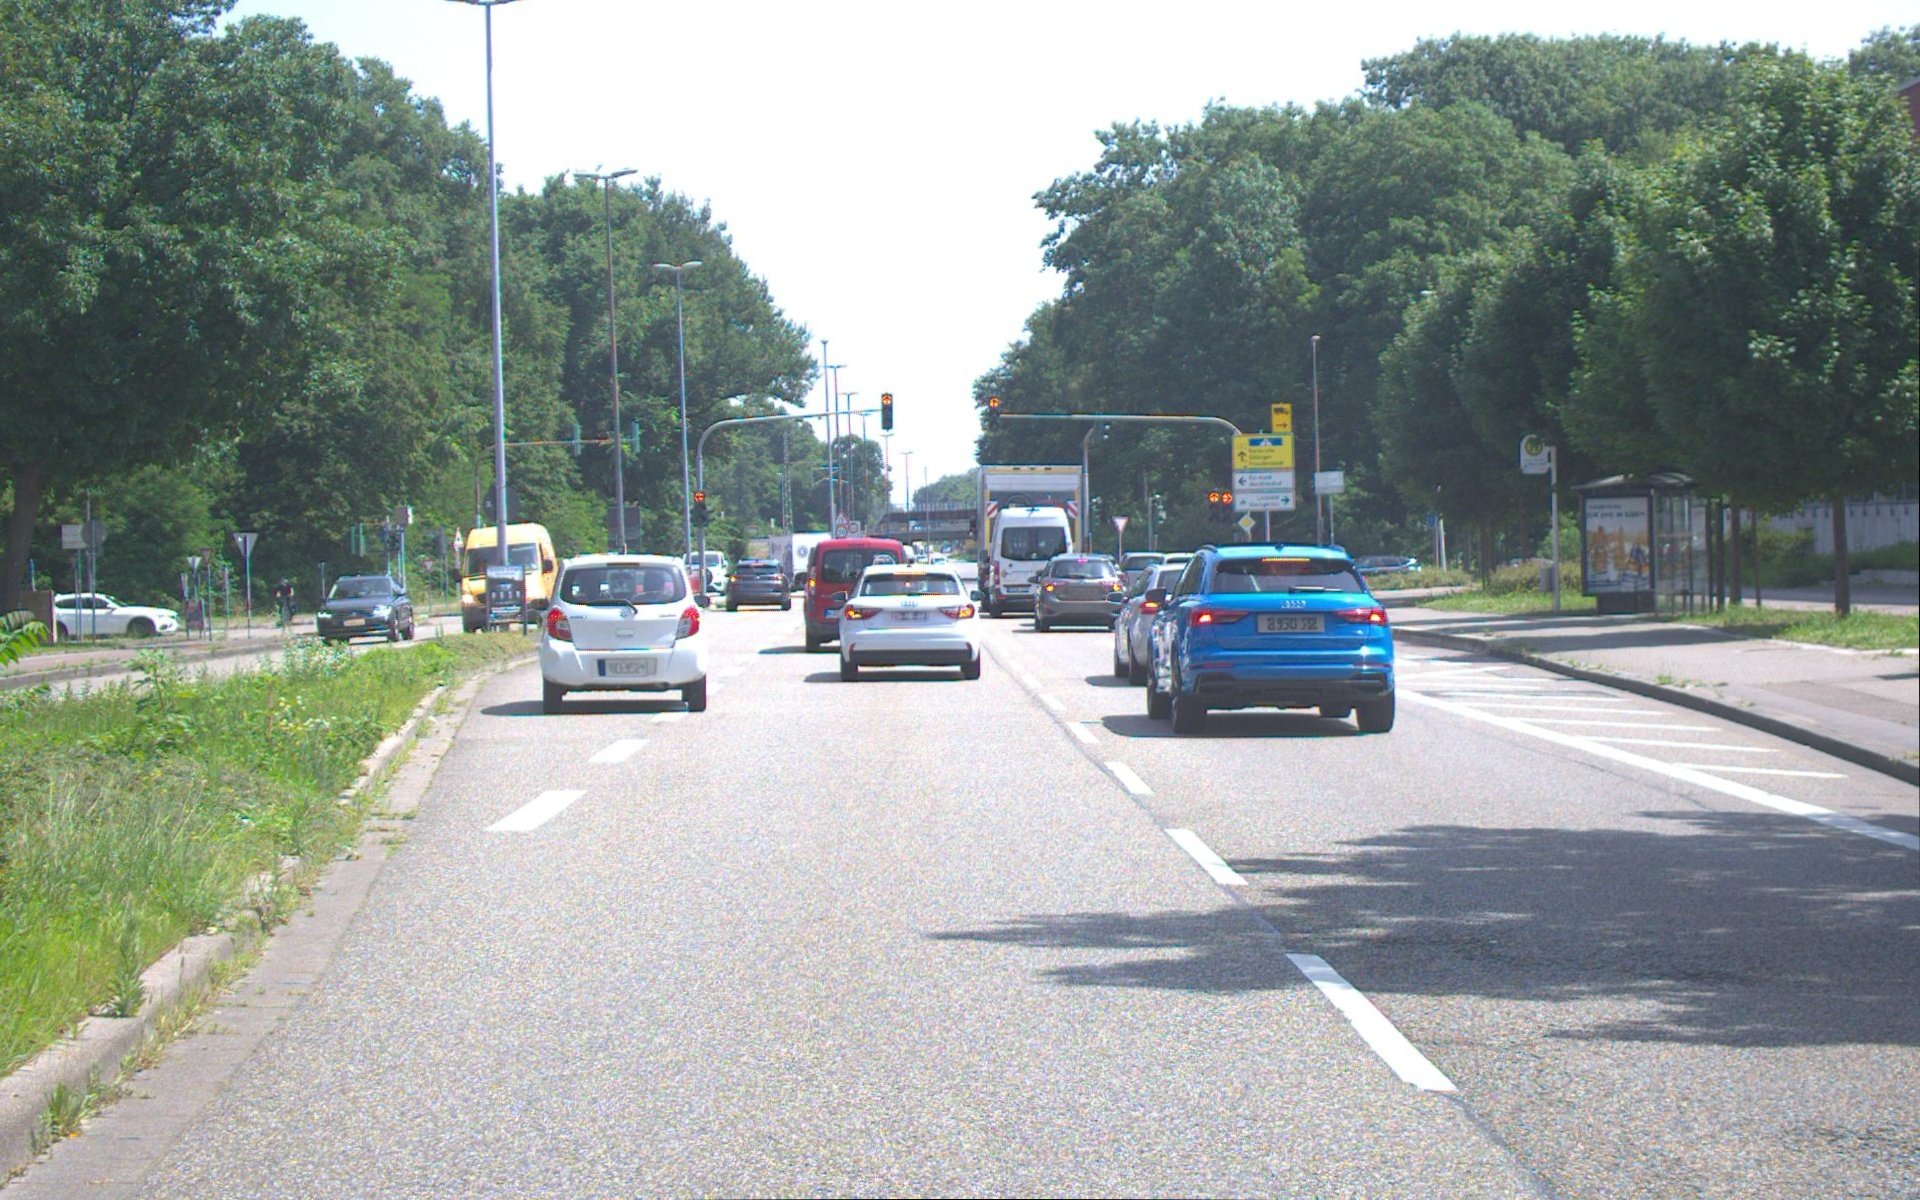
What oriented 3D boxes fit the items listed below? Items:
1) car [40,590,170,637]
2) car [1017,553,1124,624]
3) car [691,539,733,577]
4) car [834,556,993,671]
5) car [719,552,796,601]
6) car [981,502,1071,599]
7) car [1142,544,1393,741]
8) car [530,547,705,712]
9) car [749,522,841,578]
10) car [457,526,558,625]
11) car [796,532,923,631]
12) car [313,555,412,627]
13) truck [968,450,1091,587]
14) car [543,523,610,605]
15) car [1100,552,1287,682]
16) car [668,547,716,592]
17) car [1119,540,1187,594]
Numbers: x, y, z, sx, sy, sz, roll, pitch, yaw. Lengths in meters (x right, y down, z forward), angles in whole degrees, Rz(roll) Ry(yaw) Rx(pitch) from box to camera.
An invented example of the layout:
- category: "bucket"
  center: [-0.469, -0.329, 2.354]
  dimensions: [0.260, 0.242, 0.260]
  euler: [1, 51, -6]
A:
- category: "car"
  center: [-28.357, 0.430, 114.094]
  dimensions: [3.986, 1.393, 1.590]
  euler: [-2, 1, -7]
- category: "car"
  center: [2.163, -0.244, 68.345]
  dimensions: [1.865, 1.305, 4.000]
  euler: [-2, 1, -1]
- category: "car"
  center: [-10.924, -1.861, 151.459]
  dimensions: [1.595, 1.577, 3.772]
  euler: [-2, 1, -1]
- category: "car"
  center: [-0.578, 0.150, 43.102]
  dimensions: [1.884, 1.349, 4.000]
  euler: [-1, 0, -1]
- category: "car"
  center: [-5.784, -0.693, 98.716]
  dimensions: [1.993, 1.284, 4.000]
  euler: [-2, 1, -1]
- category: "car"
  center: [1.573, -1.220, 83.622]
  dimensions: [1.993, 2.248, 4.000]
  euler: [-2, 1, -1]
- category: "car"
  center: [2.621, 0.330, 30.167]
  dimensions: [1.808, 1.587, 4.349]
  euler: [-1, 0, 0]
- category: "car"
  center: [-3.409, 0.269, 34.487]
  dimensions: [1.638, 1.547, 3.325]
  euler: [-1, 0, -5]
- category: "car"
  center: [-6.233, -1.881, 129.327]
  dimensions: [1.993, 2.007, 4.001]
  euler: [-2, 1, -25]
- category: "car"
  center: [-10.735, -0.586, 81.838]
  dimensions: [1.779, 2.274, 4.752]
  euler: [-1, 0, 0]
- category: "car"
  center: [-1.646, -0.302, 55.081]
  dimensions: [1.794, 1.518, 4.001]
  euler: [-1, 0, -5]
- category: "car"
  center: [-14.236, -0.219, 82.072]
  dimensions: [1.710, 1.656, 4.000]
  euler: [-1, 0, -1]
- category: "truck"
  center: [1.817, -2.208, 94.125]
  dimensions: [2.932, 3.490, 9.158]
  euler: [-2, 1, -1]
- category: "car"
  center: [-10.892, -1.016, 97.801]
  dimensions: [1.779, 2.274, 4.001]
  euler: [-1, 0, -5]
- category: "car"
  center: [2.745, 0.177, 41.199]
  dimensions: [1.865, 1.468, 4.000]
  euler: [-1, 0, -1]
- category: "car"
  center: [-8.168, -0.951, 104.834]
  dimensions: [1.368, 1.304, 2.694]
  euler: [-2, 1, -4]
- category: "car"
  center: [5.539, -0.968, 98.966]
  dimensions: [1.633, 1.459, 4.000]
  euler: [-2, 1, -1]
